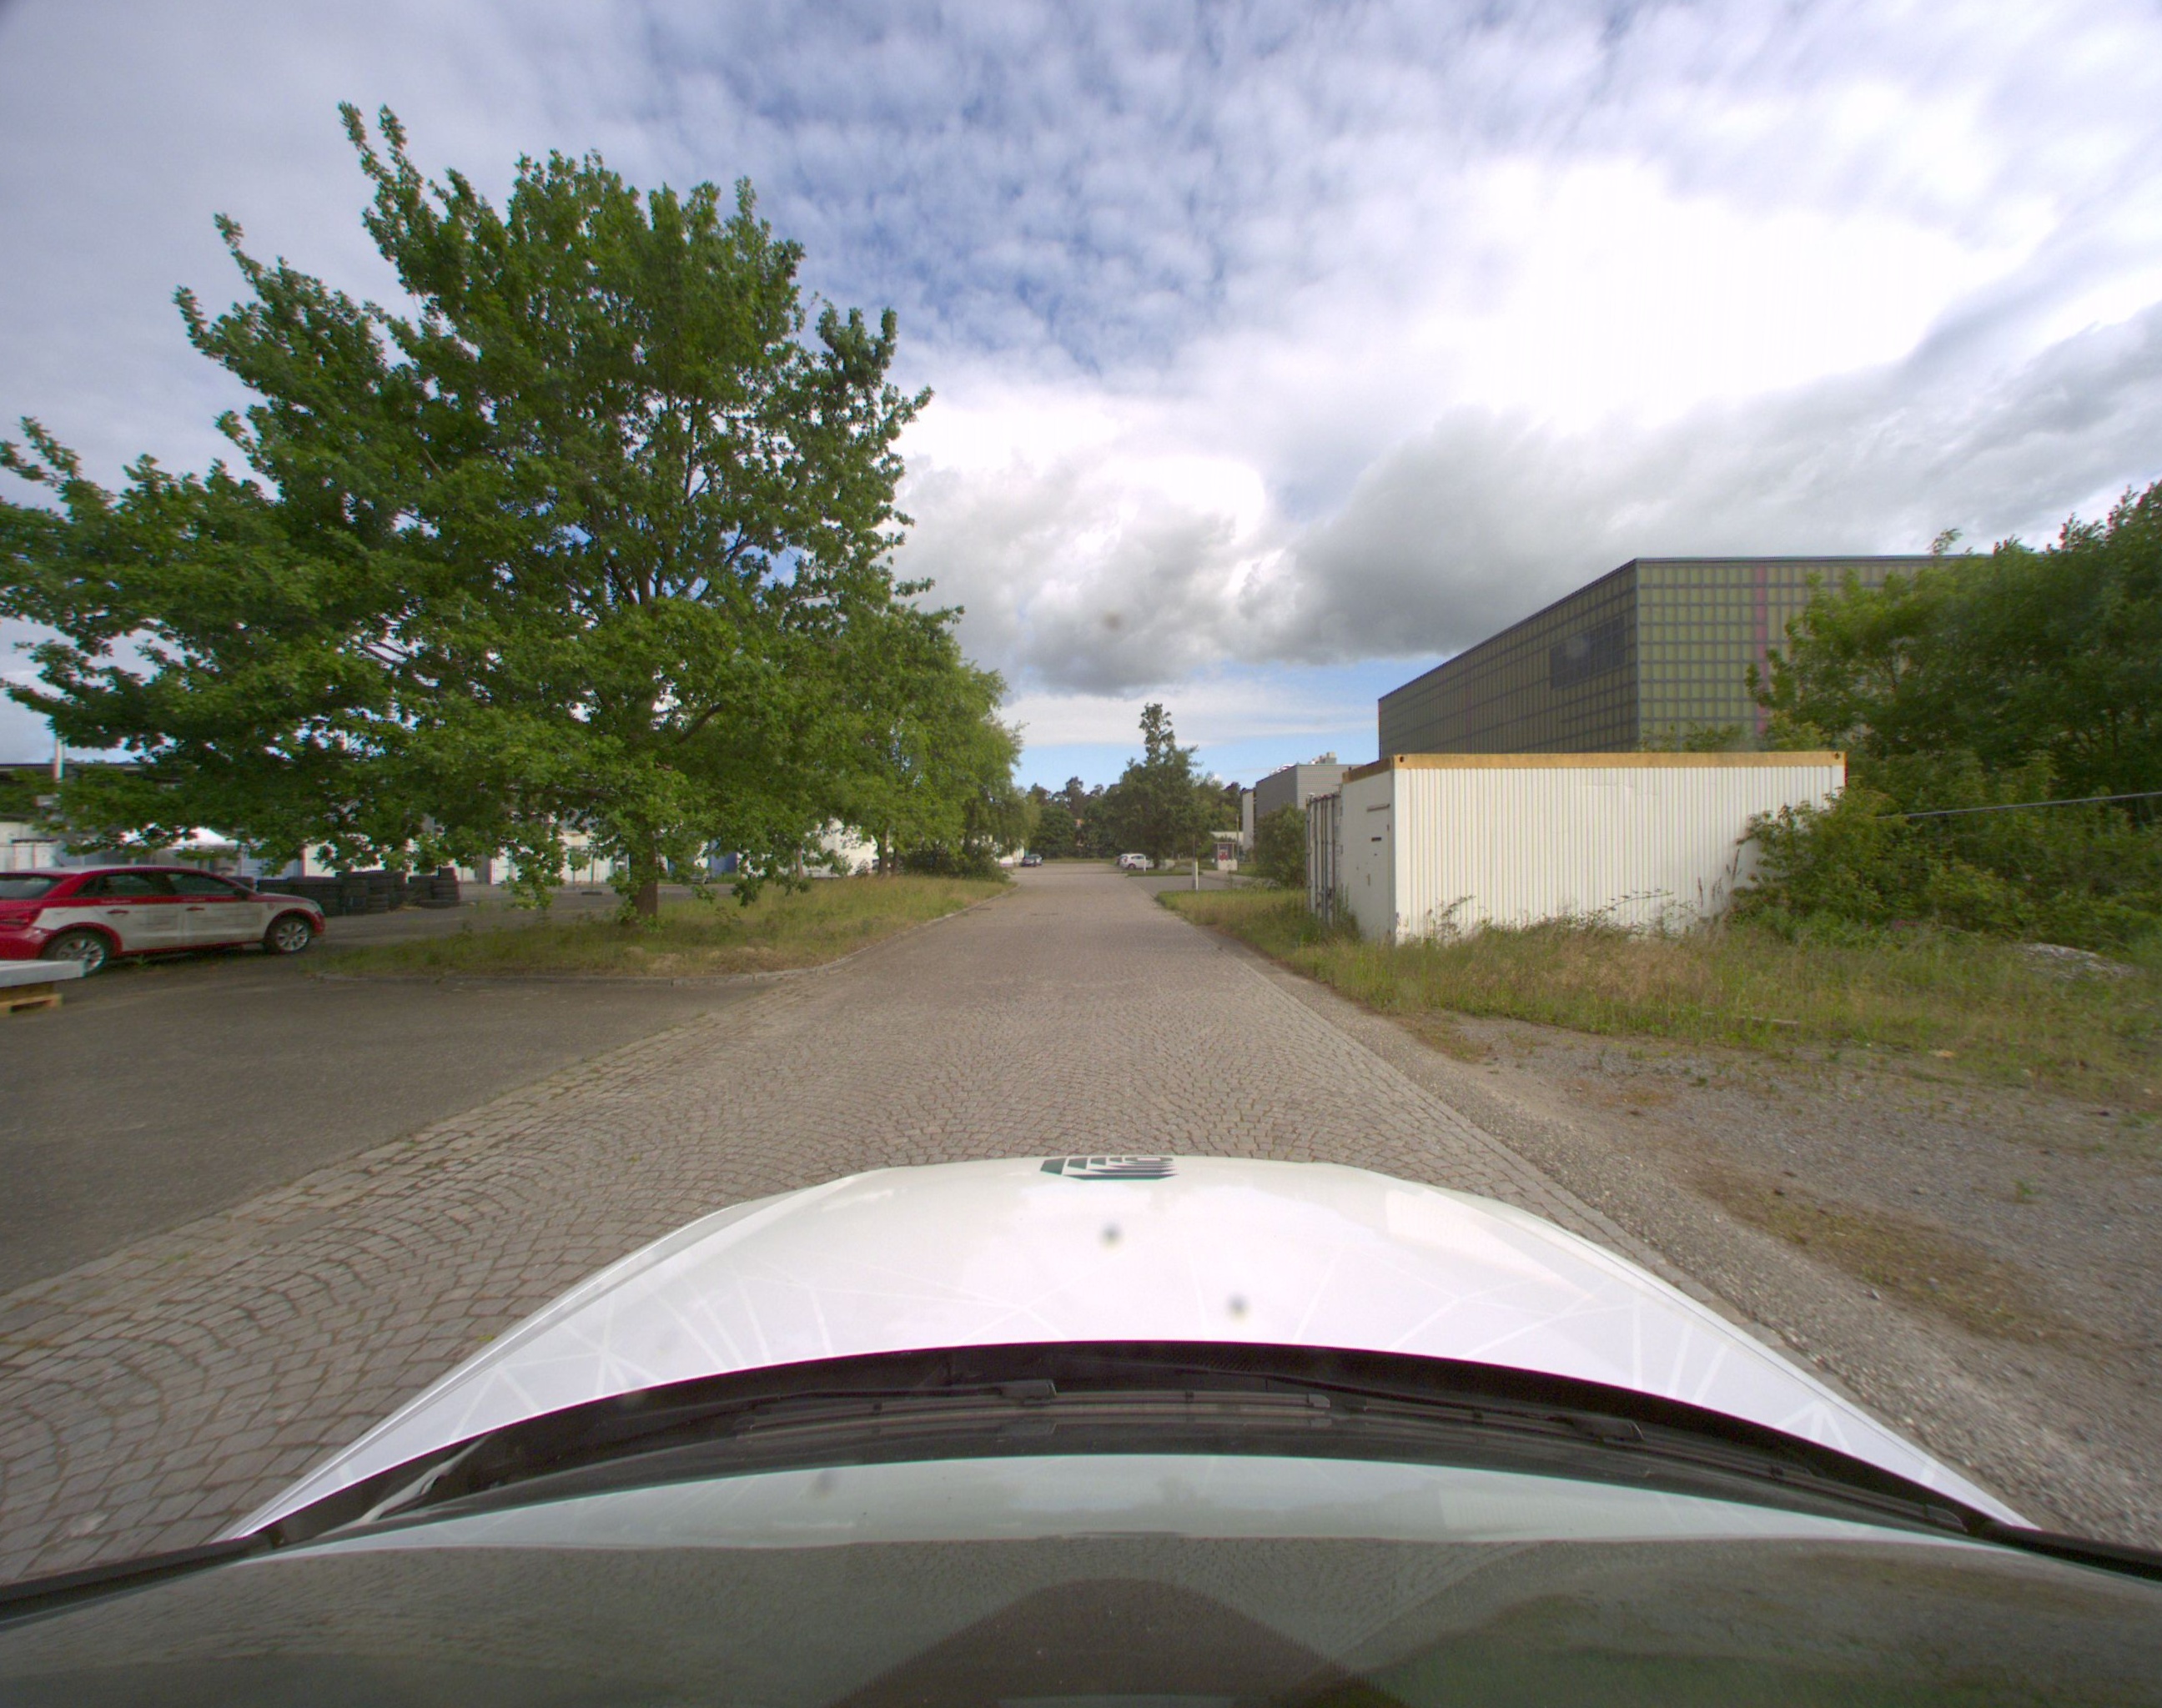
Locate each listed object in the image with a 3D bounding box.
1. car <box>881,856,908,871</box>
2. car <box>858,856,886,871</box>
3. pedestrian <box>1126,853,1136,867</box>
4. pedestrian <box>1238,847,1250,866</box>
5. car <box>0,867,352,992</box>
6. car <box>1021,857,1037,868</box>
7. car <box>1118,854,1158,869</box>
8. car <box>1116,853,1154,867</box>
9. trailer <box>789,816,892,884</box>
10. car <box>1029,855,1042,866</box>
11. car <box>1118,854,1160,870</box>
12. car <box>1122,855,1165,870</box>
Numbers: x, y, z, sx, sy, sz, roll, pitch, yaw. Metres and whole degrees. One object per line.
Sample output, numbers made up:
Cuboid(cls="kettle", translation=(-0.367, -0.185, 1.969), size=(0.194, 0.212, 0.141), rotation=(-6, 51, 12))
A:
Cuboid(cls="car", translation=(-20.341, 1.027, 88.867), size=(1.893, 1.575, 4.002), rotation=(-1, 0, 2))
Cuboid(cls="car", translation=(-22.987, 1.045, 89.847), size=(1.893, 1.575, 4.002), rotation=(-1, 0, 2))
Cuboid(cls="pedestrian", translation=(5.722, 0.671, 93.347), size=(0.960, 1.568, 0.947), rotation=(-1, 0, 19))
Cuboid(cls="pedestrian", translation=(17.275, 0.293, 86.412), size=(0.919, 2.014, 1.144), rotation=(-1, 0, -5))
Cuboid(cls="car", translation=(-13.614, 0.941, 11.913), size=(1.814, 1.431, 4.226), rotation=(-1, 0, 7))
Cuboid(cls="car", translation=(-6.478, 1.059, 101.731), size=(1.744, 1.364, 3.997), rotation=(-1, 0, -2))
Cuboid(cls="car", translation=(5.776, 0.726, 82.968), size=(3.973, 1.455, 1.770), rotation=(-1, 0, 0))
Cuboid(cls="car", translation=(6.017, 0.695, 91.087), size=(3.978, 1.533, 1.998), rotation=(-1, 0, -4))
Cuboid(cls="trailer", translation=(-14.576, -0.220, 50.580), size=(2.645, 3.706, 10.729), rotation=(-1, 0, 3))
Cuboid(cls="car", translation=(-6.243, 0.938, 111.964), size=(1.744, 1.454, 3.997), rotation=(-1, 0, -2))
Cuboid(cls="car", translation=(5.684, 0.767, 79.928), size=(3.973, 1.455, 1.697), rotation=(-1, 0, 0))
Cuboid(cls="car", translation=(5.954, 0.817, 77.758), size=(3.973, 1.455, 2.000), rotation=(0, -1, 0))
